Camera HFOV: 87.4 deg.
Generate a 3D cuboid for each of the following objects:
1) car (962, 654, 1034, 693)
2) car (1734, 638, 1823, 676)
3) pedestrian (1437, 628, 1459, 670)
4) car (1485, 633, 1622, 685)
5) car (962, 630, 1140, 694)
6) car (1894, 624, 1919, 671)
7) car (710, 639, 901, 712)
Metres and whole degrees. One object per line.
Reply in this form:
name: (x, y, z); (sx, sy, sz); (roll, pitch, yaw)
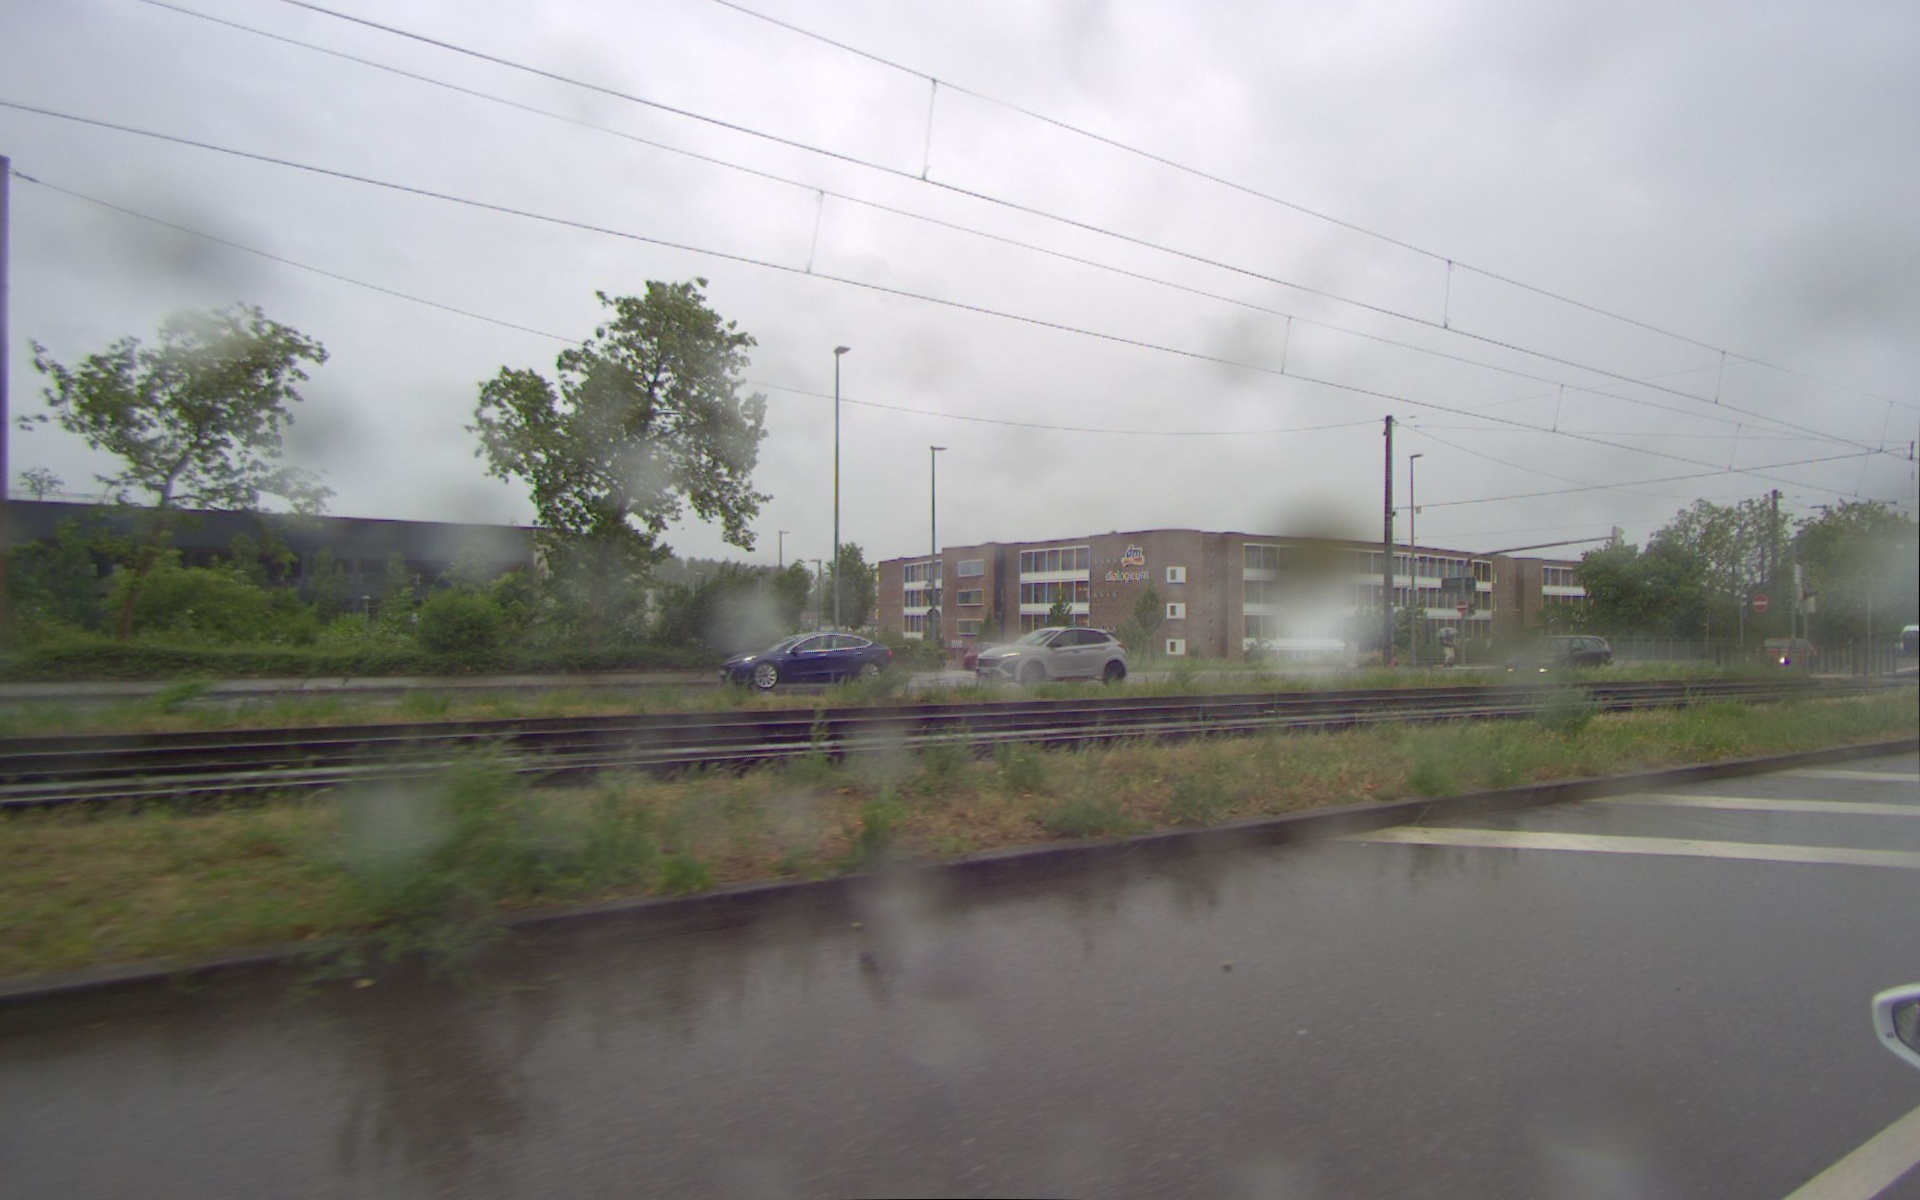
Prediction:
car: (1.649, 3.283, 45.198); (1.967, 1.461, 4.360); (1, -1, -16)
car: (40.336, 2.783, 49.473); (4.572, 1.729, 1.983); (2, -1, -31)
pedestrian: (23.884, 2.385, 49.157); (0.688, 2.040, 0.695); (1, -1, -30)
car: (19.499, 1.935, 32.981); (4.330, 1.616, 1.985); (1, -5, -31)
car: (2.378, 1.552, 25.920); (4.251, 1.505, 1.983); (2, -1, -32)
car: (59.015, 2.887, 60.842); (5.673, 2.748, 2.109); (1, -1, -31)
car: (-3.984, 1.902, 26.084); (4.489, 1.703, 1.983); (2, -1, -32)
